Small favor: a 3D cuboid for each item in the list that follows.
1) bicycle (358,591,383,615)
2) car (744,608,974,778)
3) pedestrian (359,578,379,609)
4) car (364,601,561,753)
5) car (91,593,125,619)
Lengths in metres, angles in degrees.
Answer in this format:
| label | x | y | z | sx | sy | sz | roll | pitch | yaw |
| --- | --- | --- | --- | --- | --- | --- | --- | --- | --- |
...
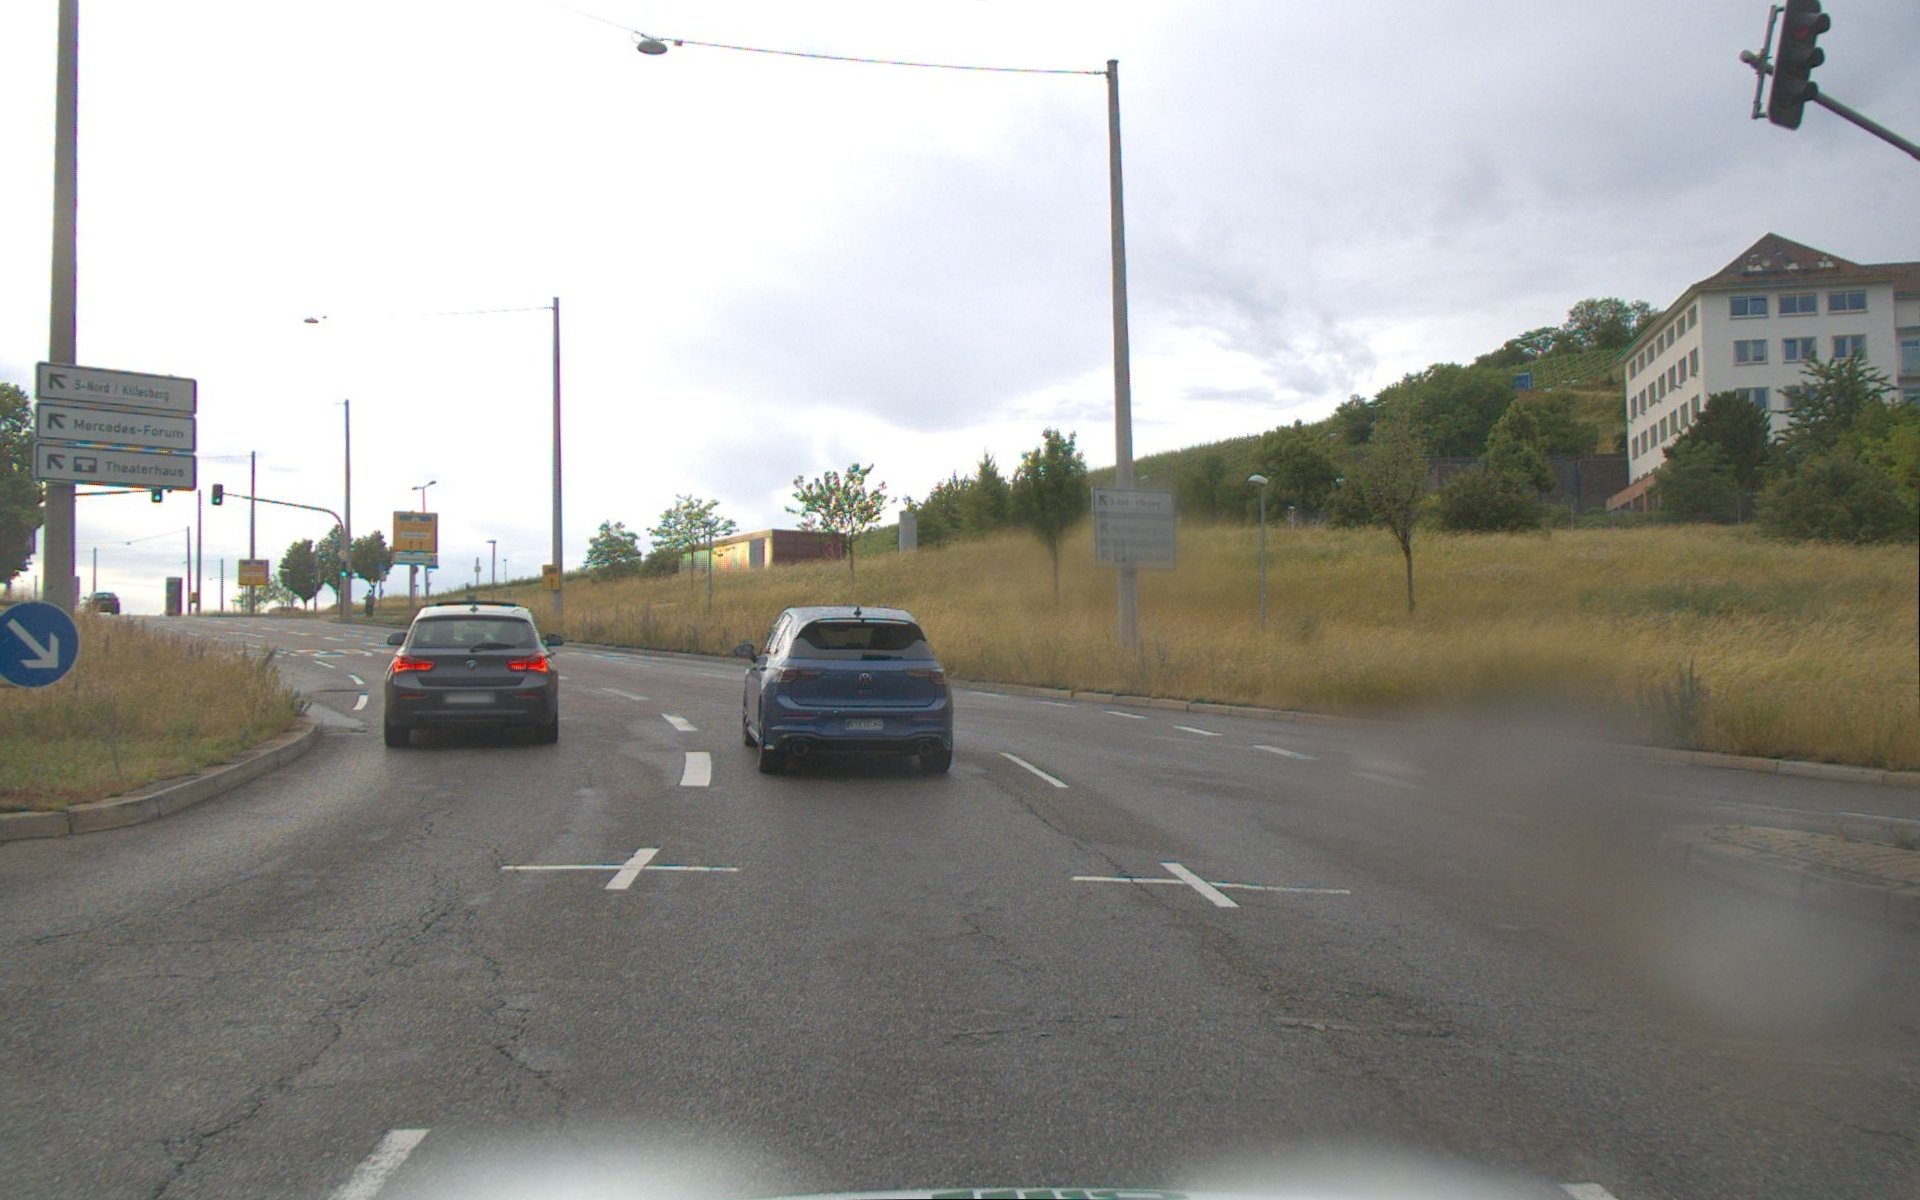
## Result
| label | x | y | z | sx | sy | sz | roll | pitch | yaw |
| --- | --- | --- | --- | --- | --- | --- | --- | --- | --- |
| bicycle | -33.280 | 0.167 | 93.319 | 0.630 | 1.122 | 1.728 | -11 | 12 | -40 |
| car | -1.104 | 0.806 | 15.958 | 1.804 | 1.418 | 3.991 | 1 | -1 | -9 |
| pedestrian | -33.312 | -0.363 | 93.226 | 0.630 | 1.595 | 0.883 | -12 | 14 | -40 |
| car | -5.390 | 0.795 | 18.342 | 1.837 | 1.487 | 3.961 | 1 | -1 | -14 |
| car | -55.129 | 0.394 | 106.943 | 1.704 | 1.568 | 3.666 | 4 | -2 | -30 |
